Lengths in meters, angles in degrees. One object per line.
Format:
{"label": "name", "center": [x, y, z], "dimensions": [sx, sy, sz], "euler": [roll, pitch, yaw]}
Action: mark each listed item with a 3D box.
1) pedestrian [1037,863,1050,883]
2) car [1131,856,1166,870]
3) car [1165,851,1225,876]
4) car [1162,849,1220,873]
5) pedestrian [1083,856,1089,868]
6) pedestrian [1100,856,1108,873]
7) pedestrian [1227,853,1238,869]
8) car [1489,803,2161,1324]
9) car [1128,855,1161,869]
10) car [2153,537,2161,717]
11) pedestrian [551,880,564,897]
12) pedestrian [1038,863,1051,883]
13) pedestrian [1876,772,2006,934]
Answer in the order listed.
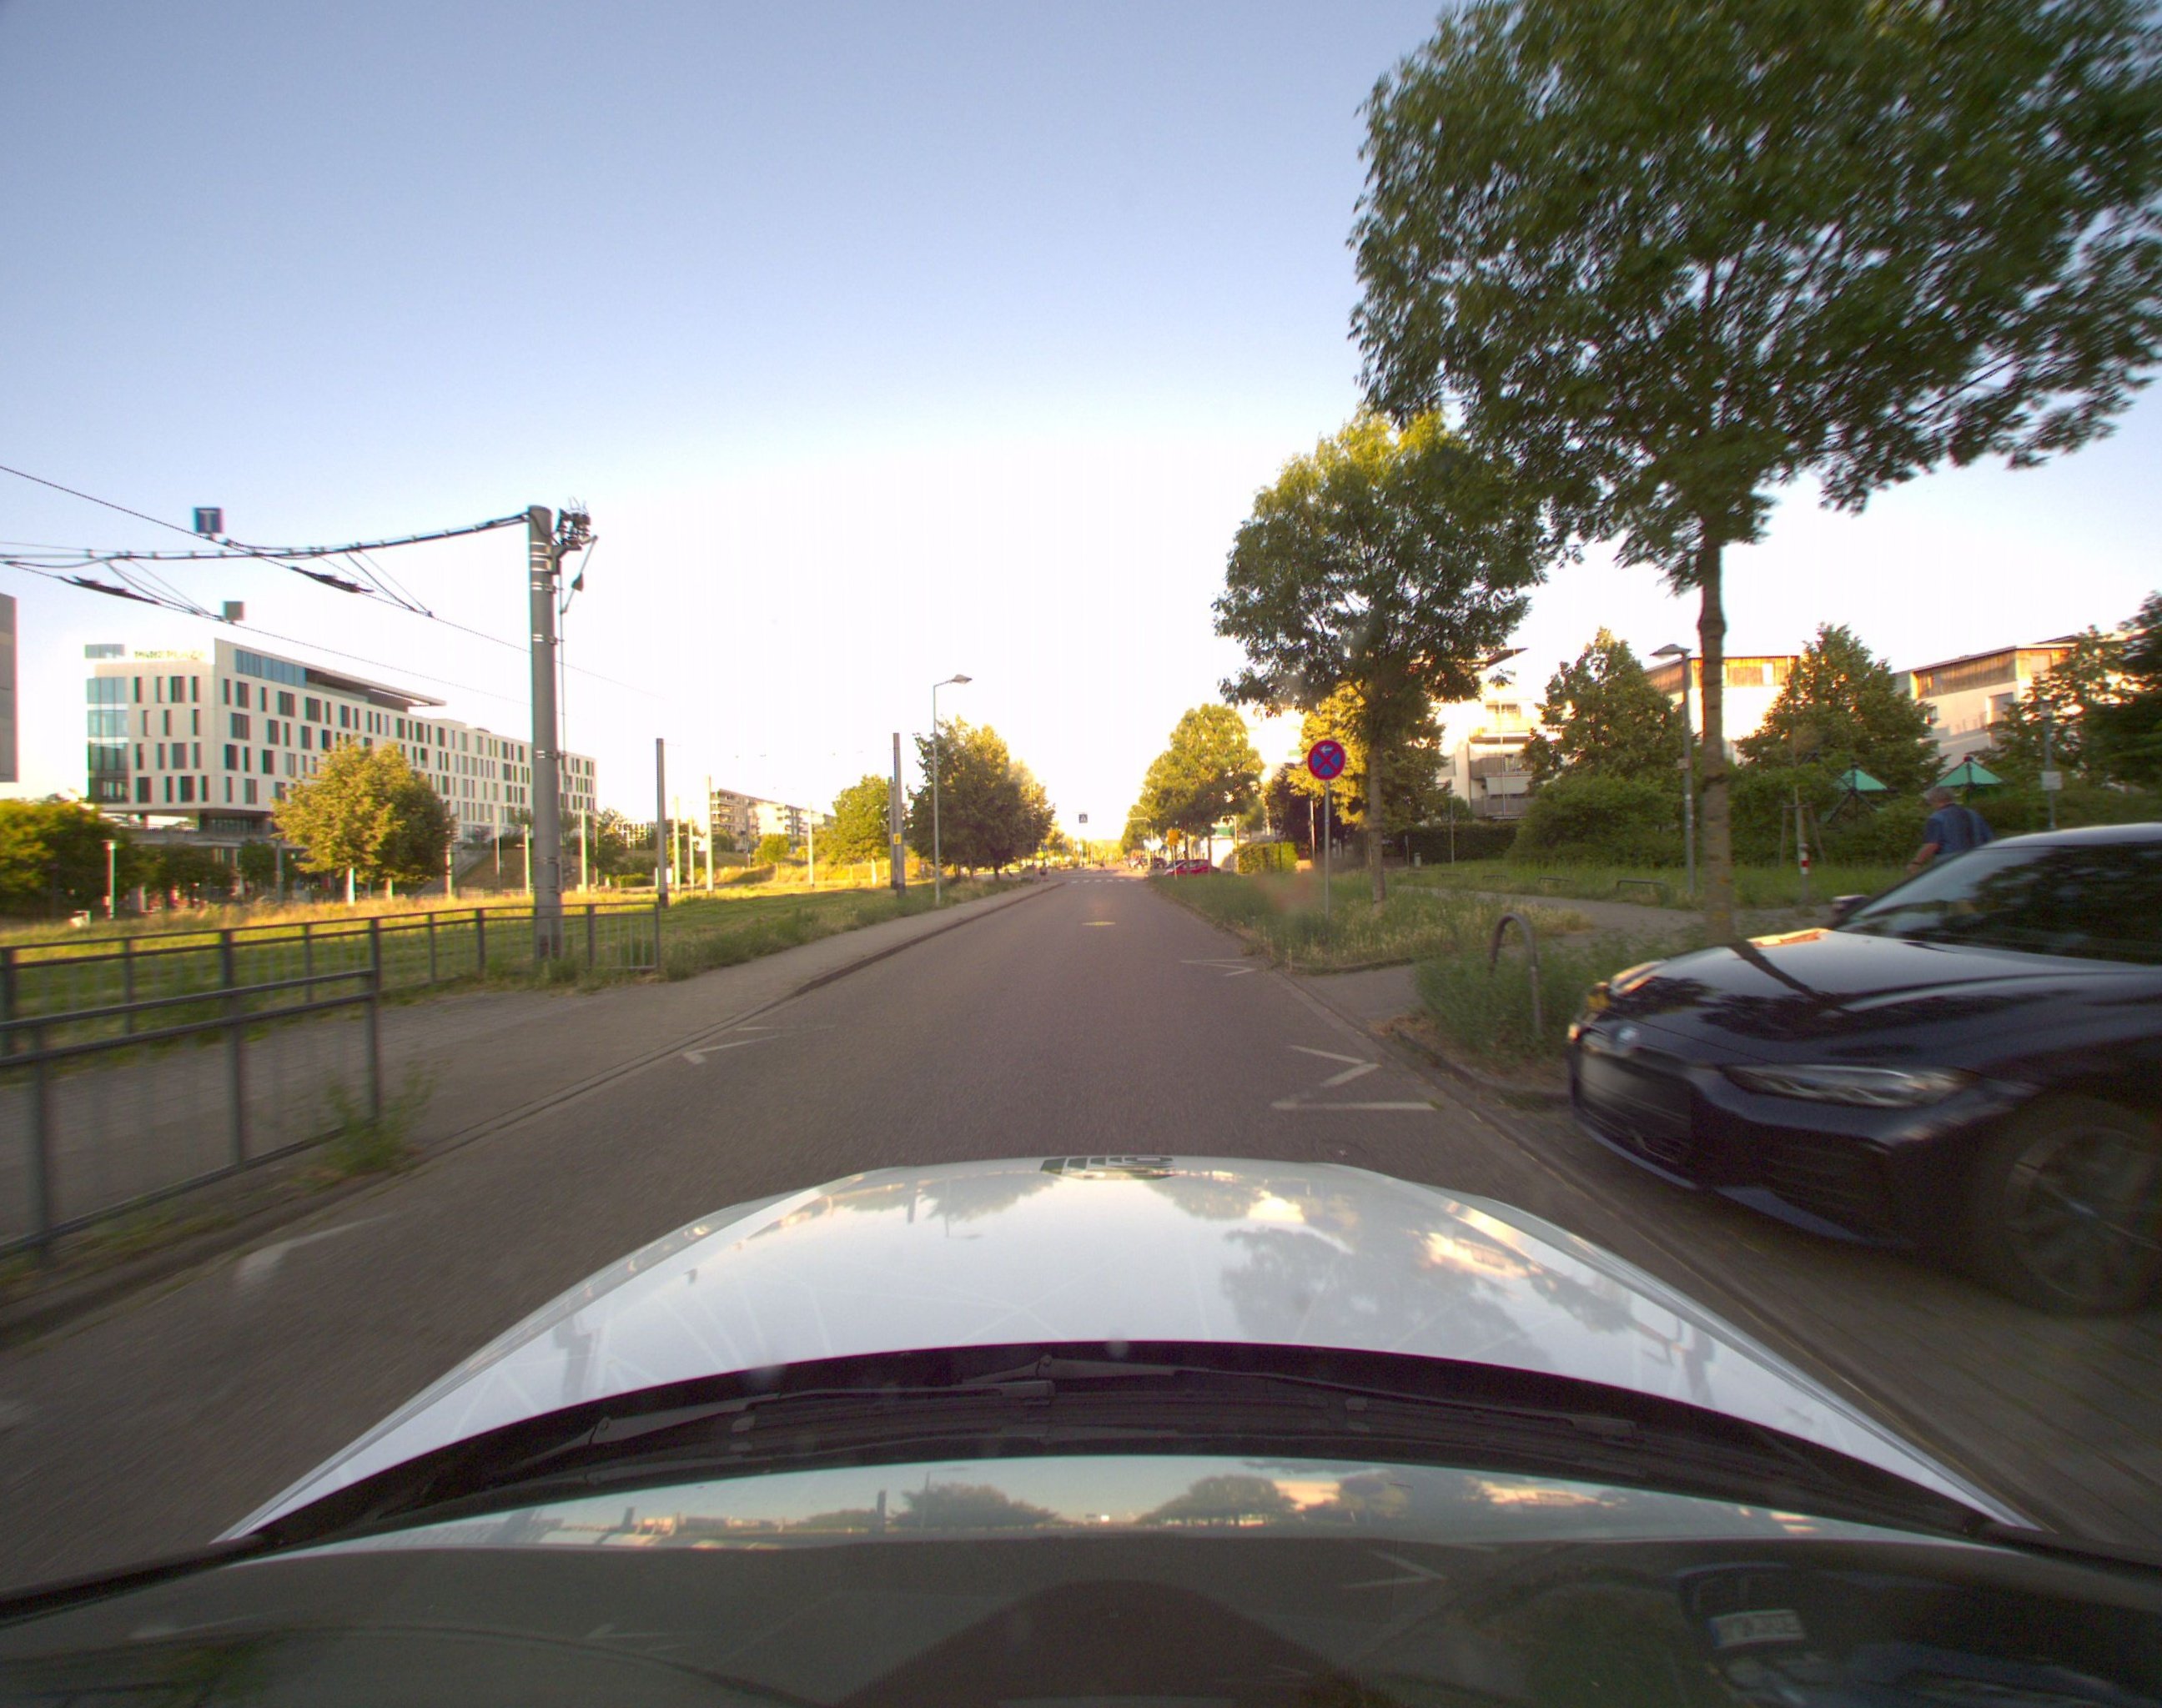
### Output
{"label": "pedestrian", "center": [-3.287, 1.646, 71.387], "dimensions": [0.983, 1.693, 0.698], "euler": [-2, -1, -9]}
{"label": "car", "center": [8.654, 1.111, 104.831], "dimensions": [4.466, 1.596, 2.002], "euler": [-2, -1, 3]}
{"label": "car", "center": [7.586, 0.613, 54.382], "dimensions": [3.790, 1.508, 1.679], "euler": [-2, -1, 0]}
{"label": "car", "center": [7.687, 0.475, 57.139], "dimensions": [3.790, 1.508, 1.679], "euler": [-2, -1, 0]}
{"label": "pedestrian", "center": [0.925, 1.430, 139.124], "dimensions": [0.866, 2.014, 0.787], "euler": [-2, -1, -9]}
{"label": "pedestrian", "center": [2.771, 1.286, 97.150], "dimensions": [0.842, 2.014, 0.945], "euler": [-2, -1, 7]}
{"label": "pedestrian", "center": [17.259, 0.776, 92.763], "dimensions": [1.001, 1.788, 0.761], "euler": [-1, -1, -5]}
{"label": "car", "center": [4.504, 0.587, 3.419], "dimensions": [4.653, 1.556, 1.811], "euler": [-2, -1, 0]}
{"label": "car", "center": [9.959, 1.254, 127.991], "dimensions": [4.991, 2.045, 2.248], "euler": [-2, -1, -3]}
{"label": "car", "center": [5.070, 0.188, 0.882], "dimensions": [4.899, 2.117, 2.018], "euler": [-2, -1, 3]}
{"label": "pedestrian", "center": [-57.662, 3.805, 89.735], "dimensions": [0.783, 1.786, 0.815], "euler": [-2, -1, 5]}
{"label": "pedestrian", "center": [-3.187, 1.611, 70.587], "dimensions": [1.018, 1.693, 0.757], "euler": [-2, -1, -9]}
{"label": "pedestrian", "center": [9.701, -0.007, 9.215], "dimensions": [0.666, 1.743, 0.699], "euler": [-2, -1, 2]}
